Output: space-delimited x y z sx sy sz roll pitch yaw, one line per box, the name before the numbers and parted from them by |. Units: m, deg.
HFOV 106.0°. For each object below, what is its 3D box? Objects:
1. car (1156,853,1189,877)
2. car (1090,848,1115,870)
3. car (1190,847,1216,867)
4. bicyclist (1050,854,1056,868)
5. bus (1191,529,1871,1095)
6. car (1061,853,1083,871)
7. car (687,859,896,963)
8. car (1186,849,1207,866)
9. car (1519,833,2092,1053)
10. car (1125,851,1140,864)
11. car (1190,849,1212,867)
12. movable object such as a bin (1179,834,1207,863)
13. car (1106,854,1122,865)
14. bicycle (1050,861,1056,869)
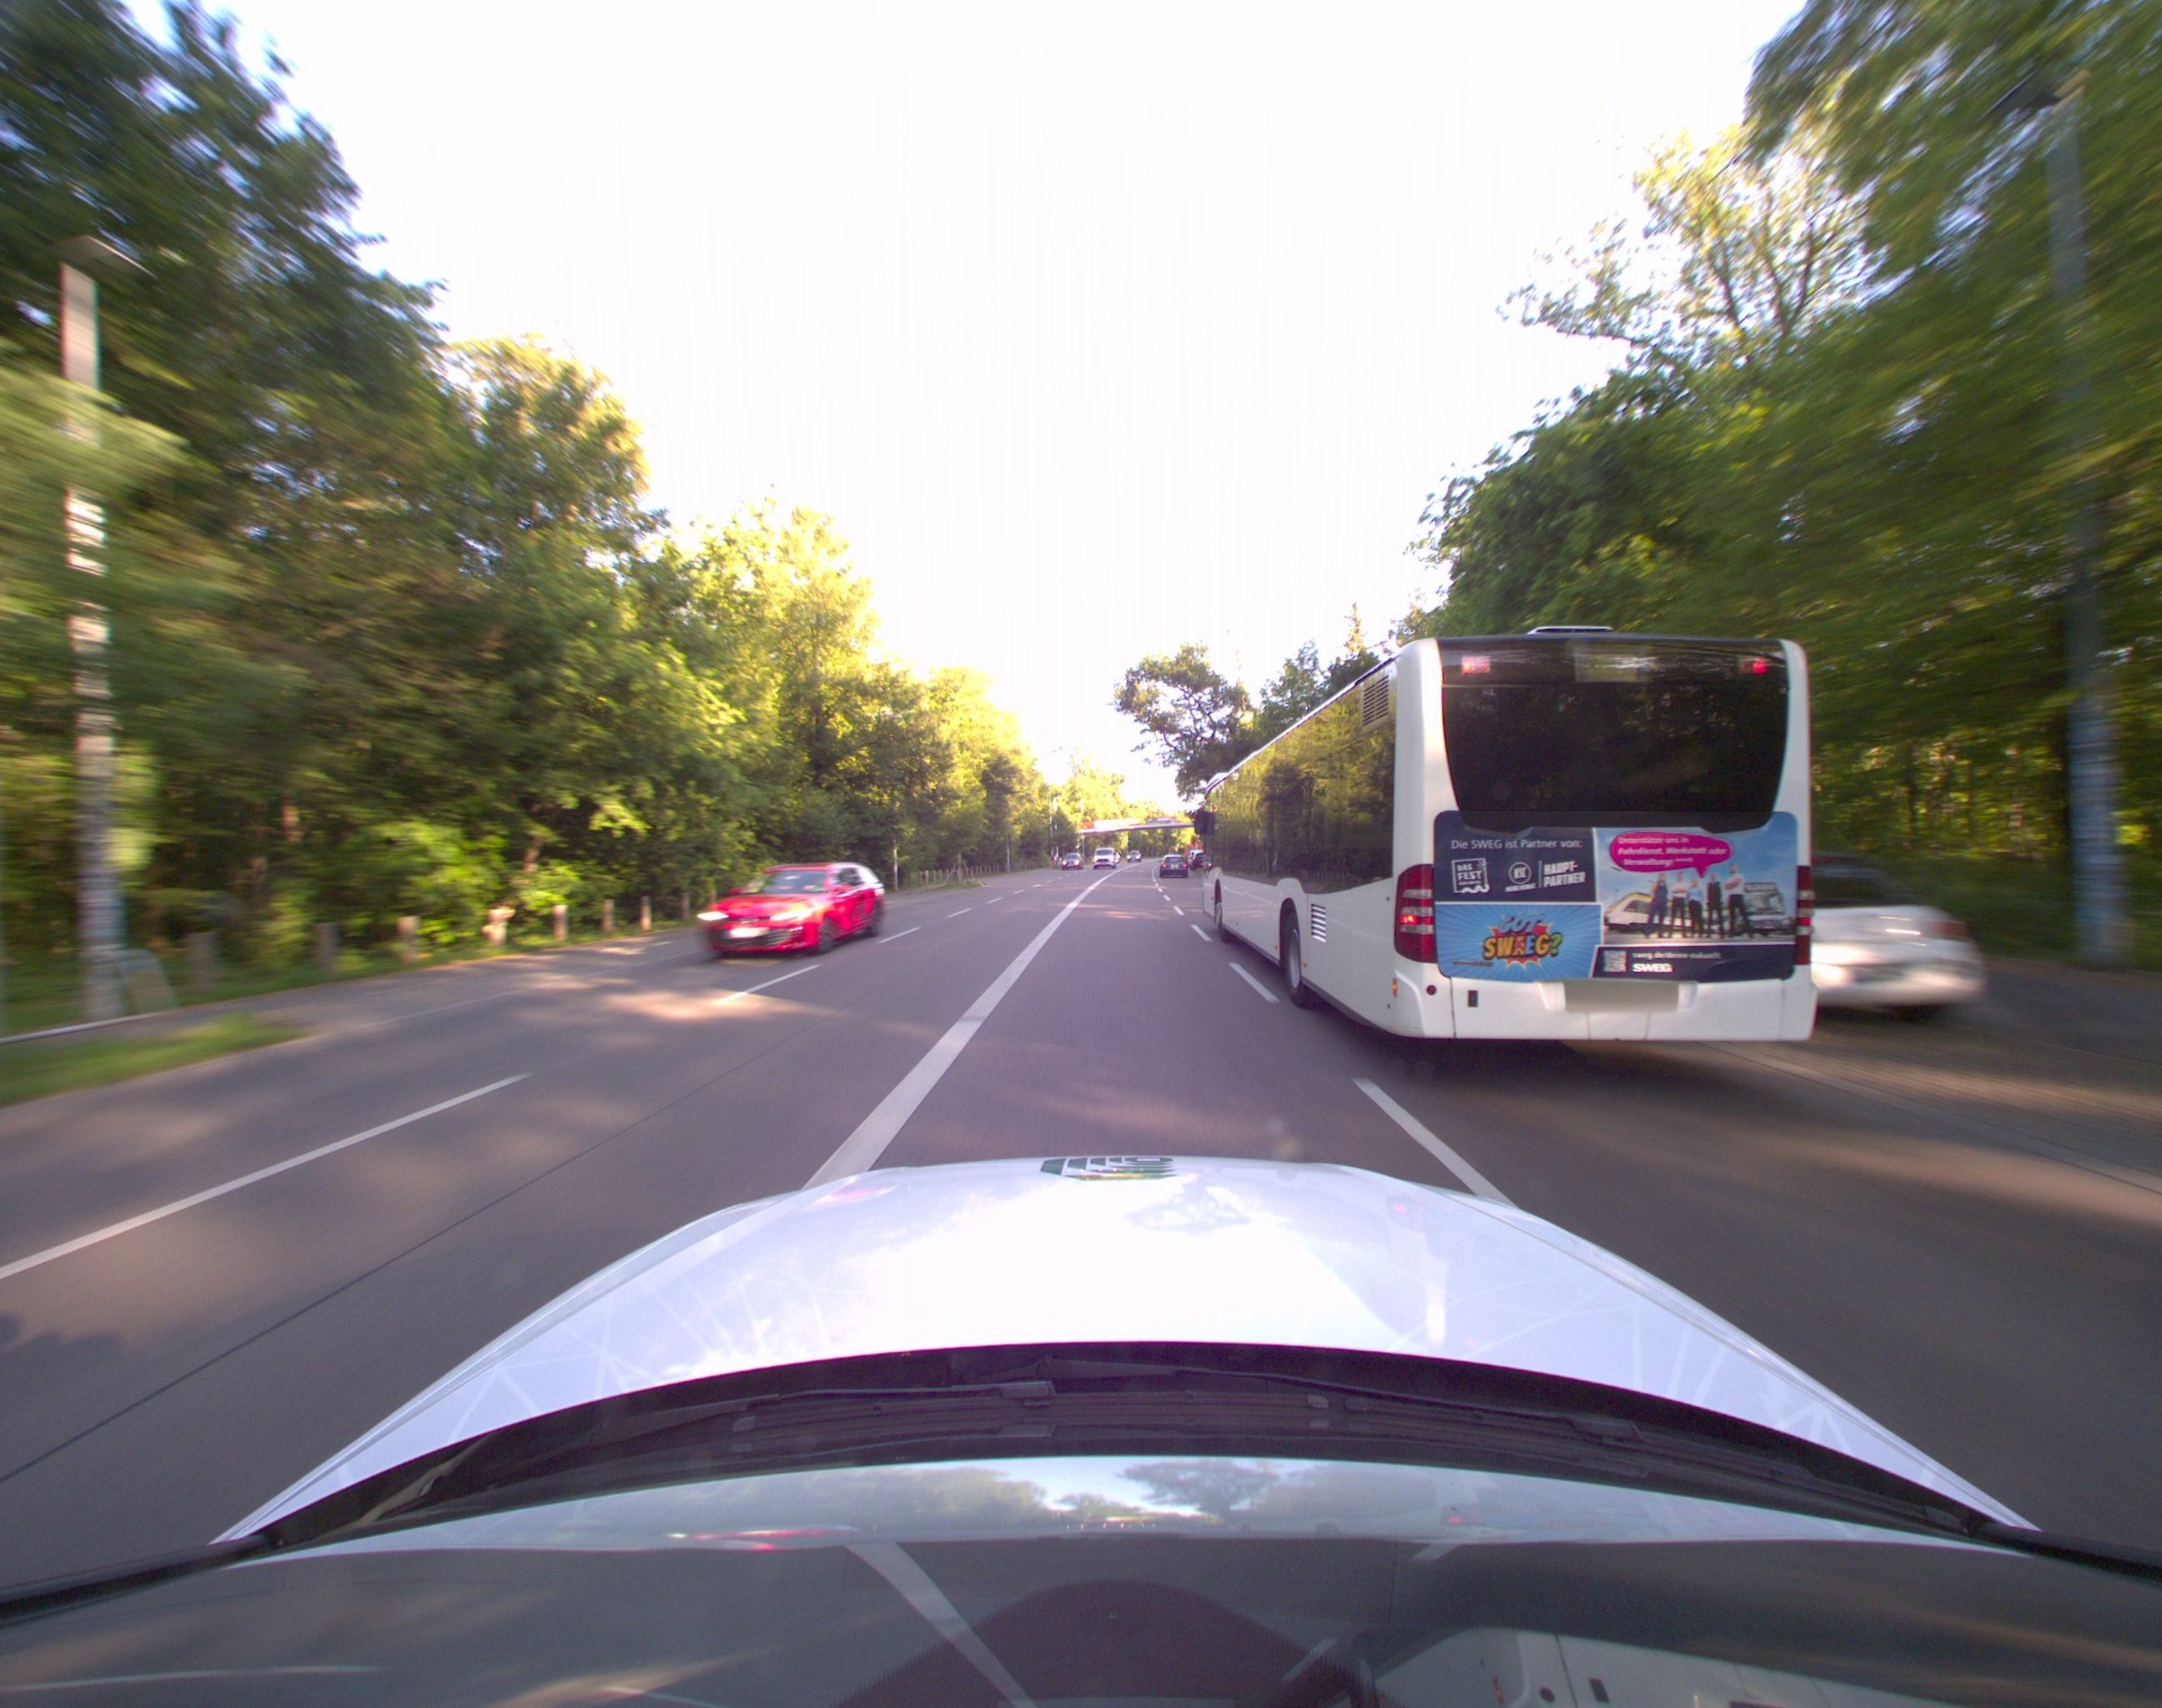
car | 5.719 0.657 51.295 1.721 1.441 4.091 -1 0 1
car | 2.112 0.483 78.209 2.197 1.961 4.916 -1 0 3
car | 10.026 0.216 67.108 1.720 1.524 4.095 -2 0 4
bicyclist | -3.216 0.791 93.211 0.497 1.484 0.762 -2 0 5
bus | 3.421 -0.225 10.856 2.693 3.222 12.286 -1 0 2
car | -0.823 0.775 78.384 1.792 1.599 4.004 -2 0 3
car | -4.935 0.875 14.777 1.816 1.462 4.928 -2 0 2
car | 11.663 0.335 82.420 1.830 1.574 4.465 -1 0 4
car | 6.346 0.639 7.992 1.846 1.456 4.285 -4 0 2
car | 7.597 0.530 119.456 1.908 1.704 4.450 -5 0 6
car | 11.381 0.375 77.287 1.720 1.542 4.095 -1 0 4
movable object such as a bin | 13.929 -0.646 101.533 2.747 3.370 7.607 -2 0 3
car | 4.869 0.782 119.075 1.888 1.531 4.537 -1 0 6
bicycle | -3.175 1.258 93.275 0.492 0.814 1.811 0 0 5
